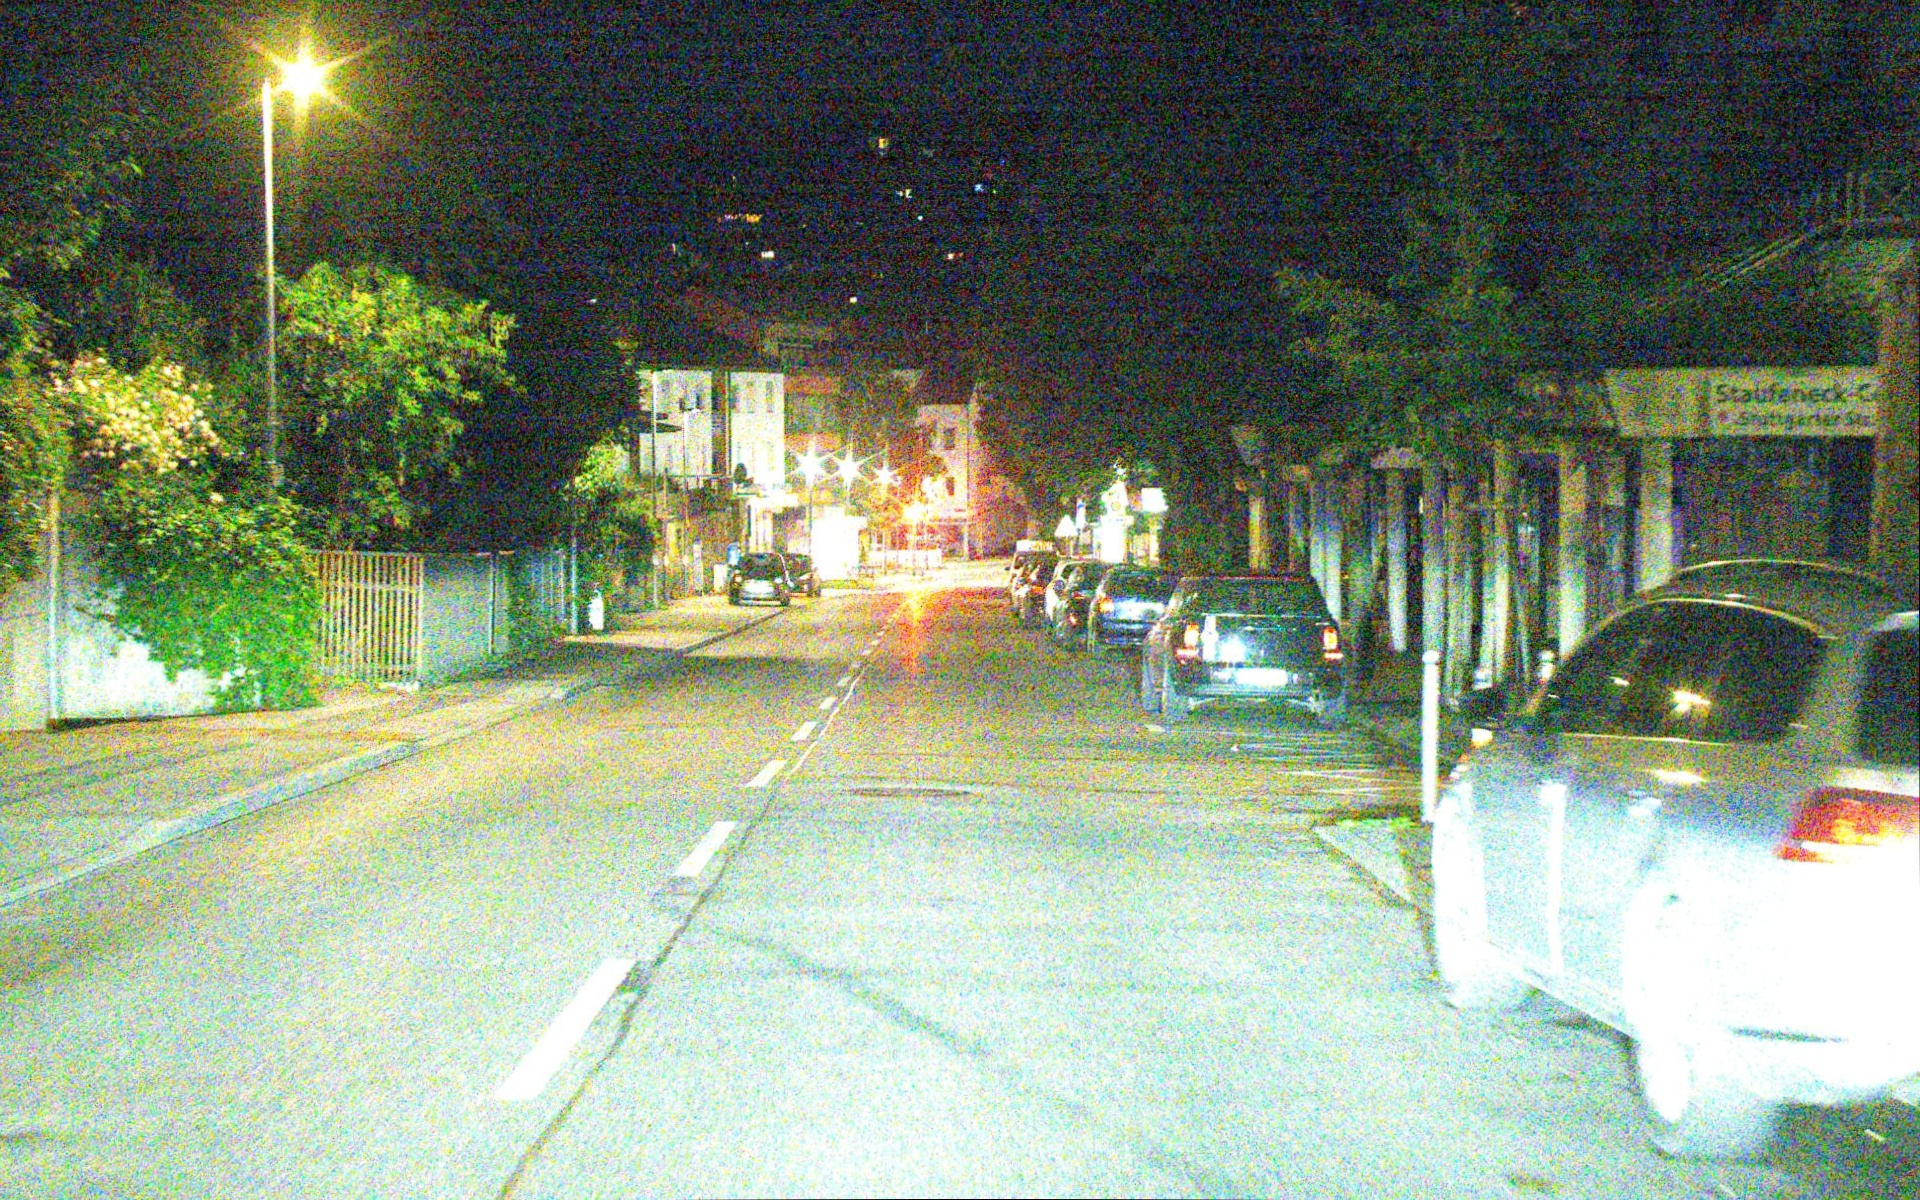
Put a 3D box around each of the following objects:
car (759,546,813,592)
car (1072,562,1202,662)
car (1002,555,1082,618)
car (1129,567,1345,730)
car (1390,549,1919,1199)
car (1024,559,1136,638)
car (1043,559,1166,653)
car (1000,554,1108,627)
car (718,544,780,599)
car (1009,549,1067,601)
[{"bbox_3d":[-5.885,-1.056,116.416,1.753,1.534,3.731,0,1,-2],"label":"car"},{"bbox_3d":[2.720,0.150,52.401,1.868,1.398,4.000,1,1,4],"label":"car"},{"bbox_3d":[1.975,-0.351,83.676,1.682,1.443,4.001,1,1,-2],"label":"car"},{"bbox_3d":[2.595,0.417,32.926,1.629,1.434,3.865,1,1,-2],"label":"car"},{"bbox_3d":[2.539,0.630,9.792,1.763,1.470,4.277,2,1,-4],"label":"car"},{"bbox_3d":[2.338,-0.046,67.857,1.682,1.443,4.001,1,1,-5],"label":"car"},{"bbox_3d":[2.367,0.073,57.249,1.682,1.443,4.001,1,1,-2],"label":"car"},{"bbox_3d":[1.948,-0.224,72.499,1.682,1.443,4.001,1,1,-7],"label":"car"},{"bbox_3d":[-6.101,-0.836,99.294,1.753,1.534,3.731,0,1,-4],"label":"car"},{"bbox_3d":[2.355,-0.766,104.083,1.682,1.534,4.000,0,1,0],"label":"car"}]
